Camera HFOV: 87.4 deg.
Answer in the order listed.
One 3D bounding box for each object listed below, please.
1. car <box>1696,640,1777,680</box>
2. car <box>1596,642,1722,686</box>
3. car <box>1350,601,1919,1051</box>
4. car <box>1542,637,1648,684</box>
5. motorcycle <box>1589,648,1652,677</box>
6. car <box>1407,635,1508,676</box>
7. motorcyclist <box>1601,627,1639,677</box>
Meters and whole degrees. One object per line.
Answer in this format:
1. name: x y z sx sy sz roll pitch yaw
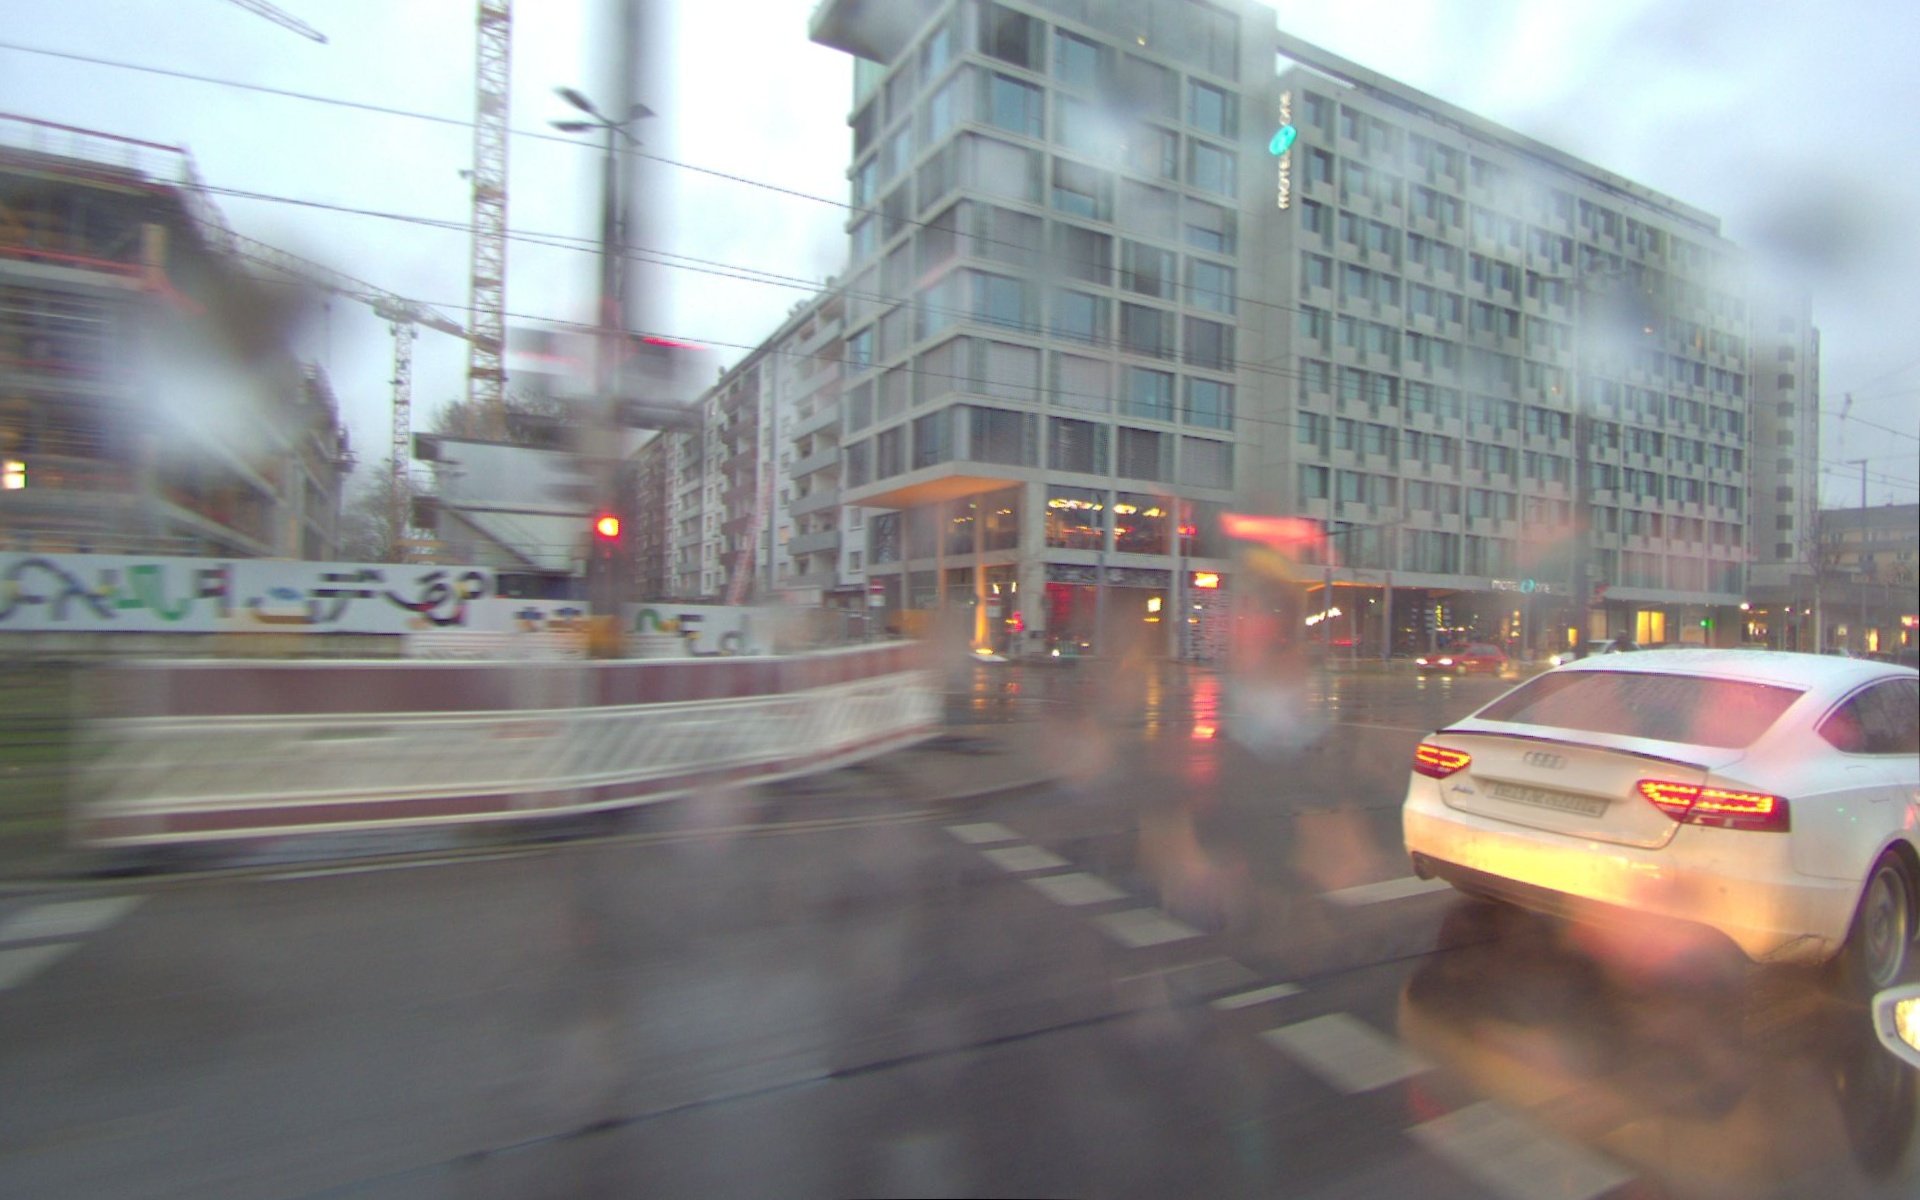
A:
1. car: 32.521 2.463 42.015 5.061 1.481 1.974 2 0 -44
2. car: 26.669 2.440 38.288 5.034 1.481 1.984 2 0 -30
3. car: 4.158 0.834 5.231 4.203 1.489 1.751 2 0 -31
4. car: 26.545 2.519 41.978 4.545 1.813 1.872 2 0 -31
5. motorcycle: 26.358 2.491 40.069 2.931 1.071 0.867 2 0 -30
6. car: 21.347 2.394 43.084 3.948 1.595 1.875 2 0 -26
7. motorcyclist: 26.306 2.068 40.031 1.021 1.910 0.867 2 0 -29
